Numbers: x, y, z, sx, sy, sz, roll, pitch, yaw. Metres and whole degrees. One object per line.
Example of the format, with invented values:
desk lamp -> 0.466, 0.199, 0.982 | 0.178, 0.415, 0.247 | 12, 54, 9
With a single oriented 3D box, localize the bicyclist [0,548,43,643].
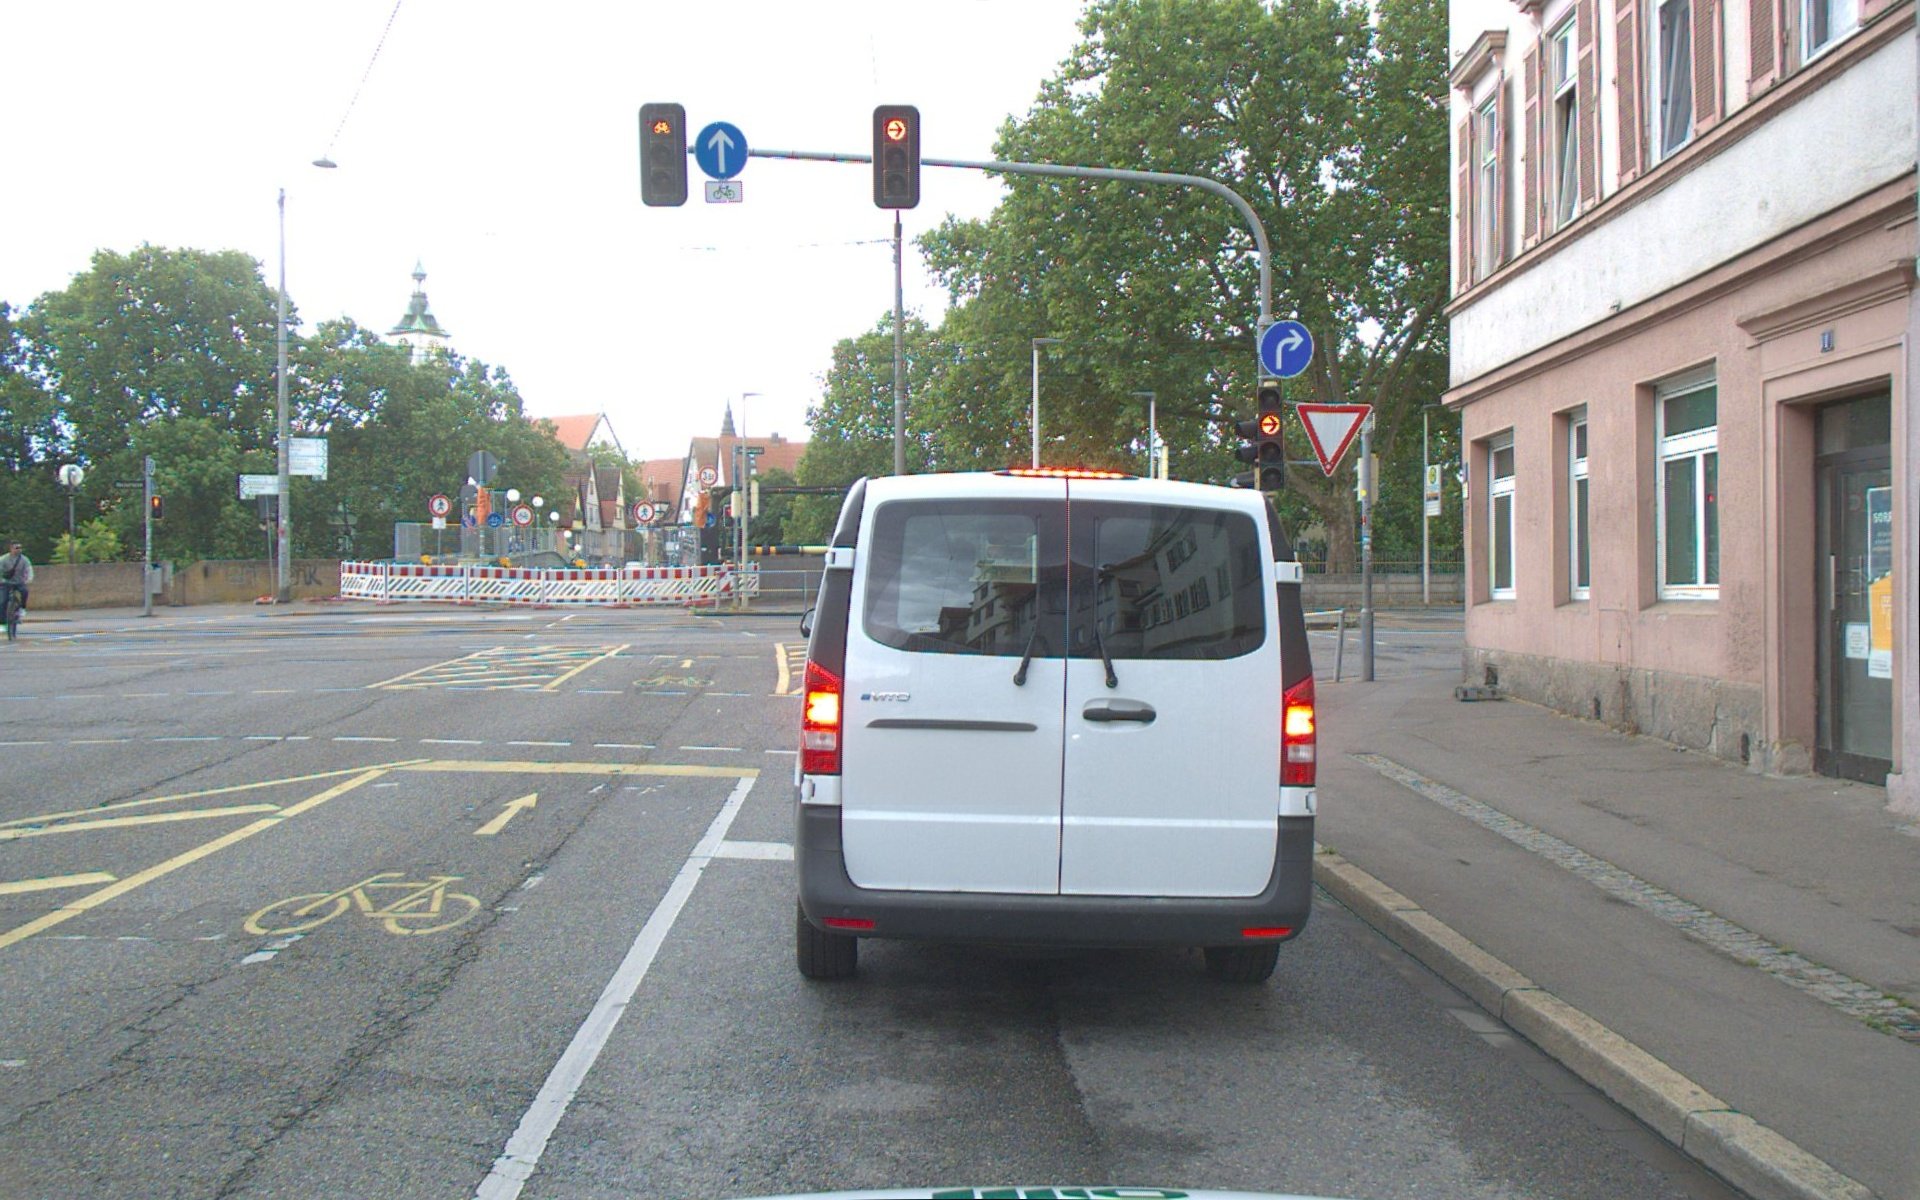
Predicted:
bicyclist -> -17.497, -0.093, 30.770 | 0.715, 1.730, 0.803 | -1, 0, -28

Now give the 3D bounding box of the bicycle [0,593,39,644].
bicycle -> -17.505, 0.339, 30.808 | 0.535, 0.908, 1.863 | -1, 1, -27

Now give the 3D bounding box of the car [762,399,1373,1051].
car -> 0.310, 0.339, 7.612 | 1.911, 2.048, 4.698 | 1, 2, -1
